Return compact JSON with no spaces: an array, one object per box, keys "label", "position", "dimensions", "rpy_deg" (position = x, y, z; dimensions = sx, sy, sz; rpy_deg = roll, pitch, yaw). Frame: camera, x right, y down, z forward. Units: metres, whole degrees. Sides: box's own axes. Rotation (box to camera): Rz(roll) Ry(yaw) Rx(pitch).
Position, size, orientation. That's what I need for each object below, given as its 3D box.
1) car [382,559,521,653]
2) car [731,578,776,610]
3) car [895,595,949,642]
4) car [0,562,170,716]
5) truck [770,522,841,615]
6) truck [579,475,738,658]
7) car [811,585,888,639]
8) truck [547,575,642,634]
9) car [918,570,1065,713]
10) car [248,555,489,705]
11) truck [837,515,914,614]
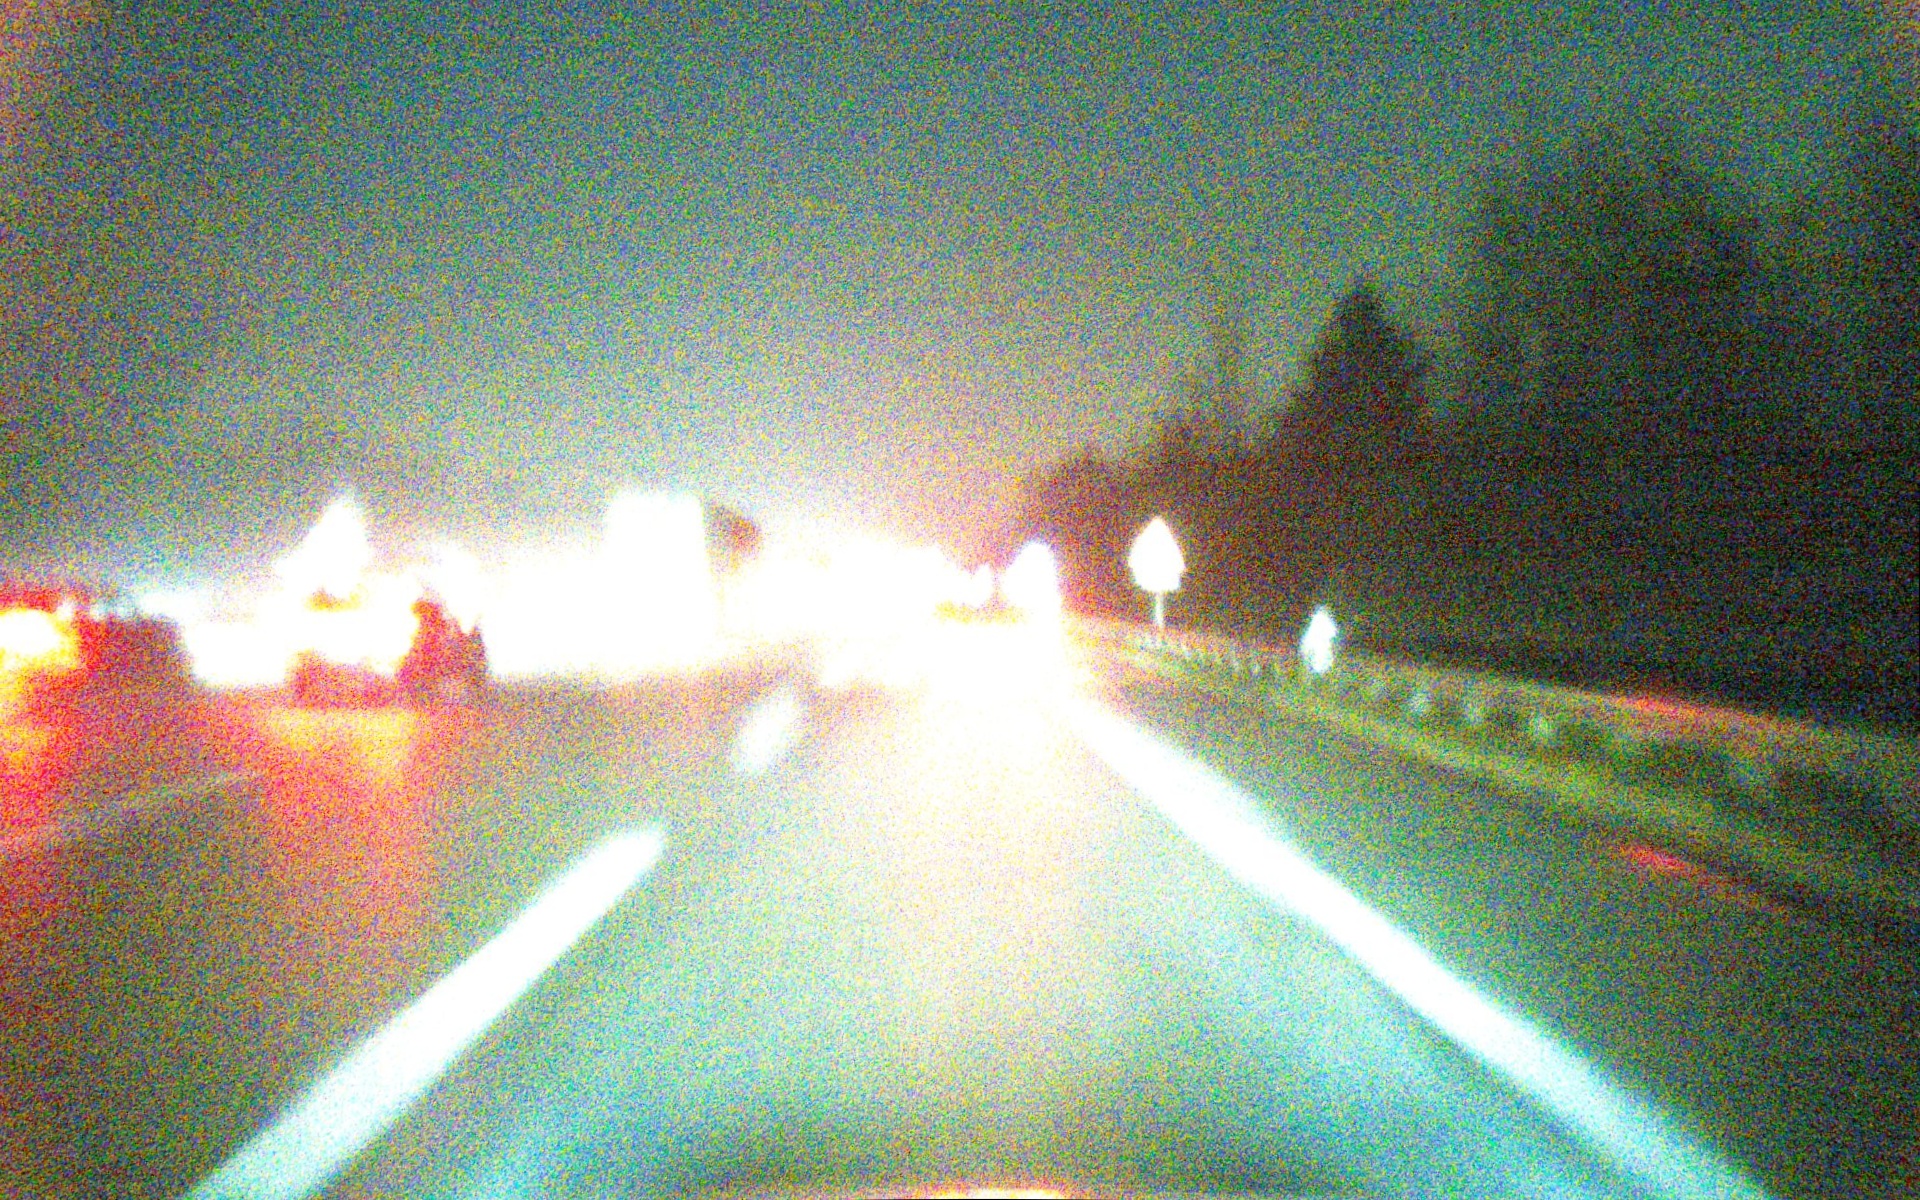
[{"label":"car","position":[-12.469,0.123,40.951],"dimensions":[2.081,2.141,5.624],"rpy_deg":[1,0,-5]},{"label":"car","position":[-11.452,-0.334,91.802],"dimensions":[1.953,1.733,4.458],"rpy_deg":[1,0,-1]},{"label":"car","position":[-1.427,0.676,63.684],"dimensions":[1.953,1.733,4.458],"rpy_deg":[1,0,-1]},{"label":"car","position":[-11.508,0.400,20.506],"dimensions":[1.731,1.718,3.997],"rpy_deg":[1,1,-4]},{"label":"truck","position":[-9.741,-1.916,105.553],"dimensions":[4.170,5.539,10.875],"rpy_deg":[1,0,-4]},{"label":"truck","position":[-8.717,-0.906,49.132],"dimensions":[3.585,4.820,9.843],"rpy_deg":[1,0,-5]},{"label":"car","position":[-4.493,0.468,68.069],"dimensions":[2.775,2.049,5.510],"rpy_deg":[1,0,0]},{"label":"truck","position":[-14.592,0.164,66.473],"dimensions":[2.800,2.239,5.854],"rpy_deg":[1,0,-3]},{"label":"car","position":[0.406,0.523,23.018],"dimensions":[1.839,1.793,4.000],"rpy_deg":[1,0,0]},{"label":"car","position":[-7.831,0.362,22.367],"dimensions":[1.999,1.792,4.510],"rpy_deg":[1,0,-6]},{"label":"truck","position":[-4.870,-1.952,95.036],"dimensions":[4.079,5.306,9.947],"rpy_deg":[1,0,-3]}]
